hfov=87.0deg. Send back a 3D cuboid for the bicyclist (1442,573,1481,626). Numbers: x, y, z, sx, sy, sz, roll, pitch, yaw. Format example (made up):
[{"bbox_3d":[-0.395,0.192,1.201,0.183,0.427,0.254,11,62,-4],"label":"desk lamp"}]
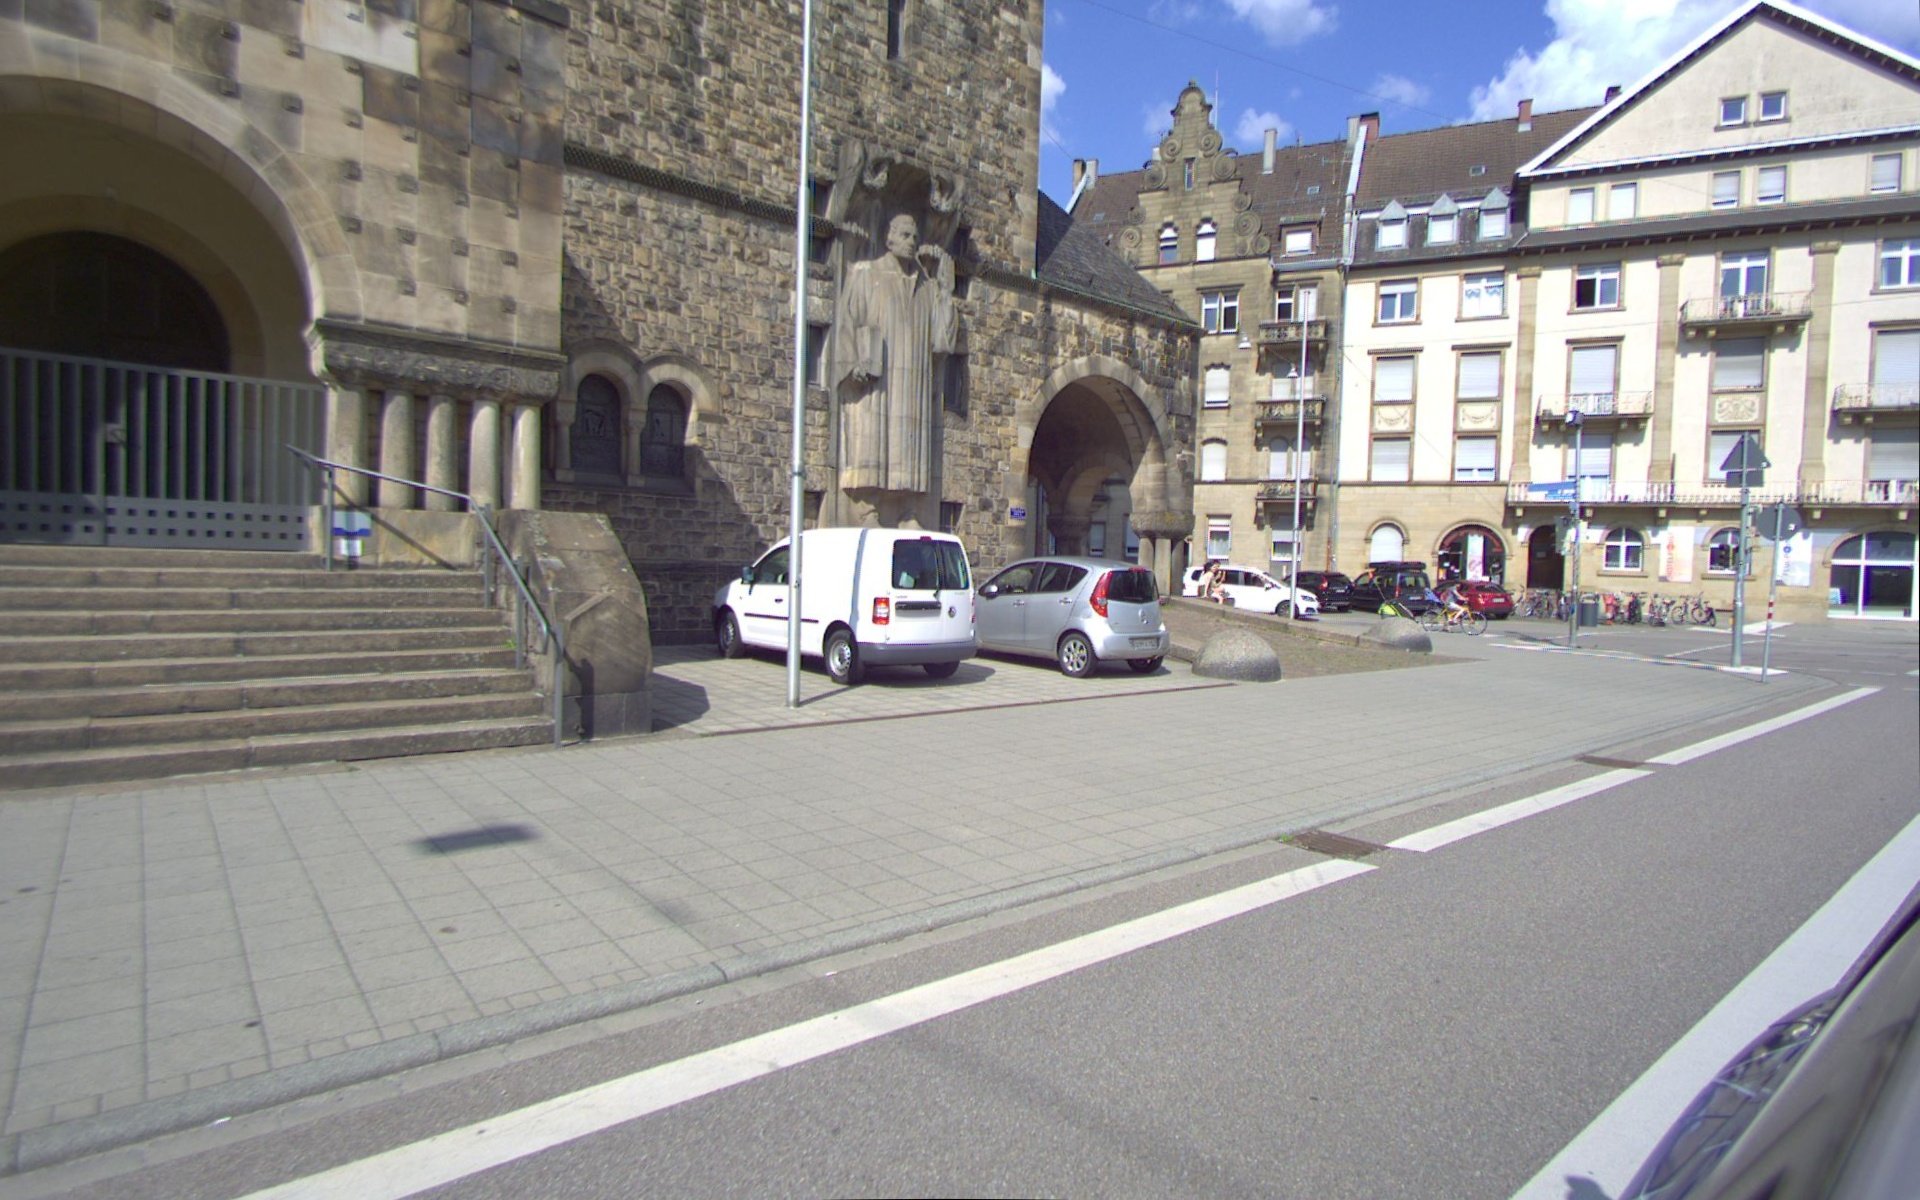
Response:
[{"bbox_3d":[14.743,-0.026,29.786,0.911,1.522,0.648,2,1,21],"label":"bicyclist"}]

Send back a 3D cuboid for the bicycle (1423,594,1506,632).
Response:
[{"bbox_3d":[14.813,0.358,29.769,2.109,1.001,0.648,3,2,22],"label":"bicycle"}]

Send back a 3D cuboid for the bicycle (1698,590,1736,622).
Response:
[{"bbox_3d":[28.084,0.192,37.551,0.603,1.030,1.865,2,4,21],"label":"bicycle"}]

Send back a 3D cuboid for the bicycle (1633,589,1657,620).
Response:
[{"bbox_3d":[25.541,0.146,37.711,0.538,1.030,1.902,4,5,38],"label":"bicycle"}]

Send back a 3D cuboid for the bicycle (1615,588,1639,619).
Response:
[{"bbox_3d":[24.971,0.128,37.884,0.538,1.030,1.903,4,5,38],"label":"bicycle"}]

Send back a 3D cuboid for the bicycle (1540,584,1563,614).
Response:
[{"bbox_3d":[23.219,-0.046,39.729,0.534,1.030,1.914,2,5,24],"label":"bicycle"}]

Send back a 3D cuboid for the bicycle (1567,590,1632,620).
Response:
[{"bbox_3d":[23.377,0.178,37.031,1.897,1.030,0.539,1,4,9],"label":"bicycle"}]

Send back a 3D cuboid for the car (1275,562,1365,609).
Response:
[{"bbox_3d":[15.099,-0.653,42.646,1.675,1.688,4.011,0,4,-11],"label":"car"}]

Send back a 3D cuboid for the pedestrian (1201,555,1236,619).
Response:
[{"bbox_3d":[6.098,-0.317,23.886,0.508,1.422,0.558,7,4,3],"label":"pedestrian"}]

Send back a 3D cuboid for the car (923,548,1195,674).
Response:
[{"bbox_3d":[1.332,0.071,14.845,1.766,1.566,3.774,0,2,-41],"label":"car"}]

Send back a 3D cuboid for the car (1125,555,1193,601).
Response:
[{"bbox_3d":[8.913,-1.041,45.712,1.878,1.846,4.008,0,4,-6],"label":"car"}]

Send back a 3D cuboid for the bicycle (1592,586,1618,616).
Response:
[{"bbox_3d":[24.993,0.030,39.242,0.534,1.030,1.914,2,5,24],"label":"bicycle"}]

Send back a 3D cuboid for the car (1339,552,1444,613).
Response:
[{"bbox_3d":[17.639,-0.768,41.590,1.927,2.105,4.013,0,7,-11],"label":"car"}]

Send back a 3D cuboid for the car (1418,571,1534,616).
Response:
[{"bbox_3d":[20.293,-0.295,39.991,1.927,1.458,4.011,0,4,-11],"label":"car"}]

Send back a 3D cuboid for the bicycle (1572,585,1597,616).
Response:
[{"bbox_3d":[24.365,0.003,39.514,0.534,1.030,1.914,2,5,24],"label":"bicycle"}]

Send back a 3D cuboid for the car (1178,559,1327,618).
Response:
[{"bbox_3d":[9.927,-0.430,34.342,4.614,1.761,1.800,3,2,25],"label":"car"}]

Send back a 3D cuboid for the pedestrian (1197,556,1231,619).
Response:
[{"bbox_3d":[6.131,-0.307,24.455,0.508,1.422,0.558,7,4,3],"label":"pedestrian"}]

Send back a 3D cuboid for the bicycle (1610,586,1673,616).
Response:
[{"bbox_3d":[26.347,0.030,39.161,1.912,1.030,0.535,3,5,29],"label":"bicycle"}]

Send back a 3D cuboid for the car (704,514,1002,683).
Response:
[{"bbox_3d":[-1.520,-0.110,13.165,1.832,1.846,4.009,0,2,-42],"label":"car"}]

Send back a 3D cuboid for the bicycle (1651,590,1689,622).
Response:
[{"bbox_3d":[26.046,0.211,37.112,1.844,1.030,0.602,-3,5,-39],"label":"bicycle"}]

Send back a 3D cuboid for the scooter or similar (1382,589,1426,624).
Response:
[{"bbox_3d":[13.205,0.182,30.155,1.117,0.989,0.884,2,2,21],"label":"scooter or similar"}]

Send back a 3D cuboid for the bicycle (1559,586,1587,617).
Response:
[{"bbox_3d":[23.410,0.051,38.661,0.534,1.030,1.917,2,5,20],"label":"bicycle"}]

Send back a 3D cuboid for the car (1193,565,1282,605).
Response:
[{"bbox_3d":[12.076,-0.684,44.260,1.876,1.461,4.012,0,5,-16],"label":"car"}]

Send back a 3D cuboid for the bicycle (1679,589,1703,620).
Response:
[{"bbox_3d":[27.414,0.158,37.956,0.606,1.030,1.855,3,5,34],"label":"bicycle"}]
